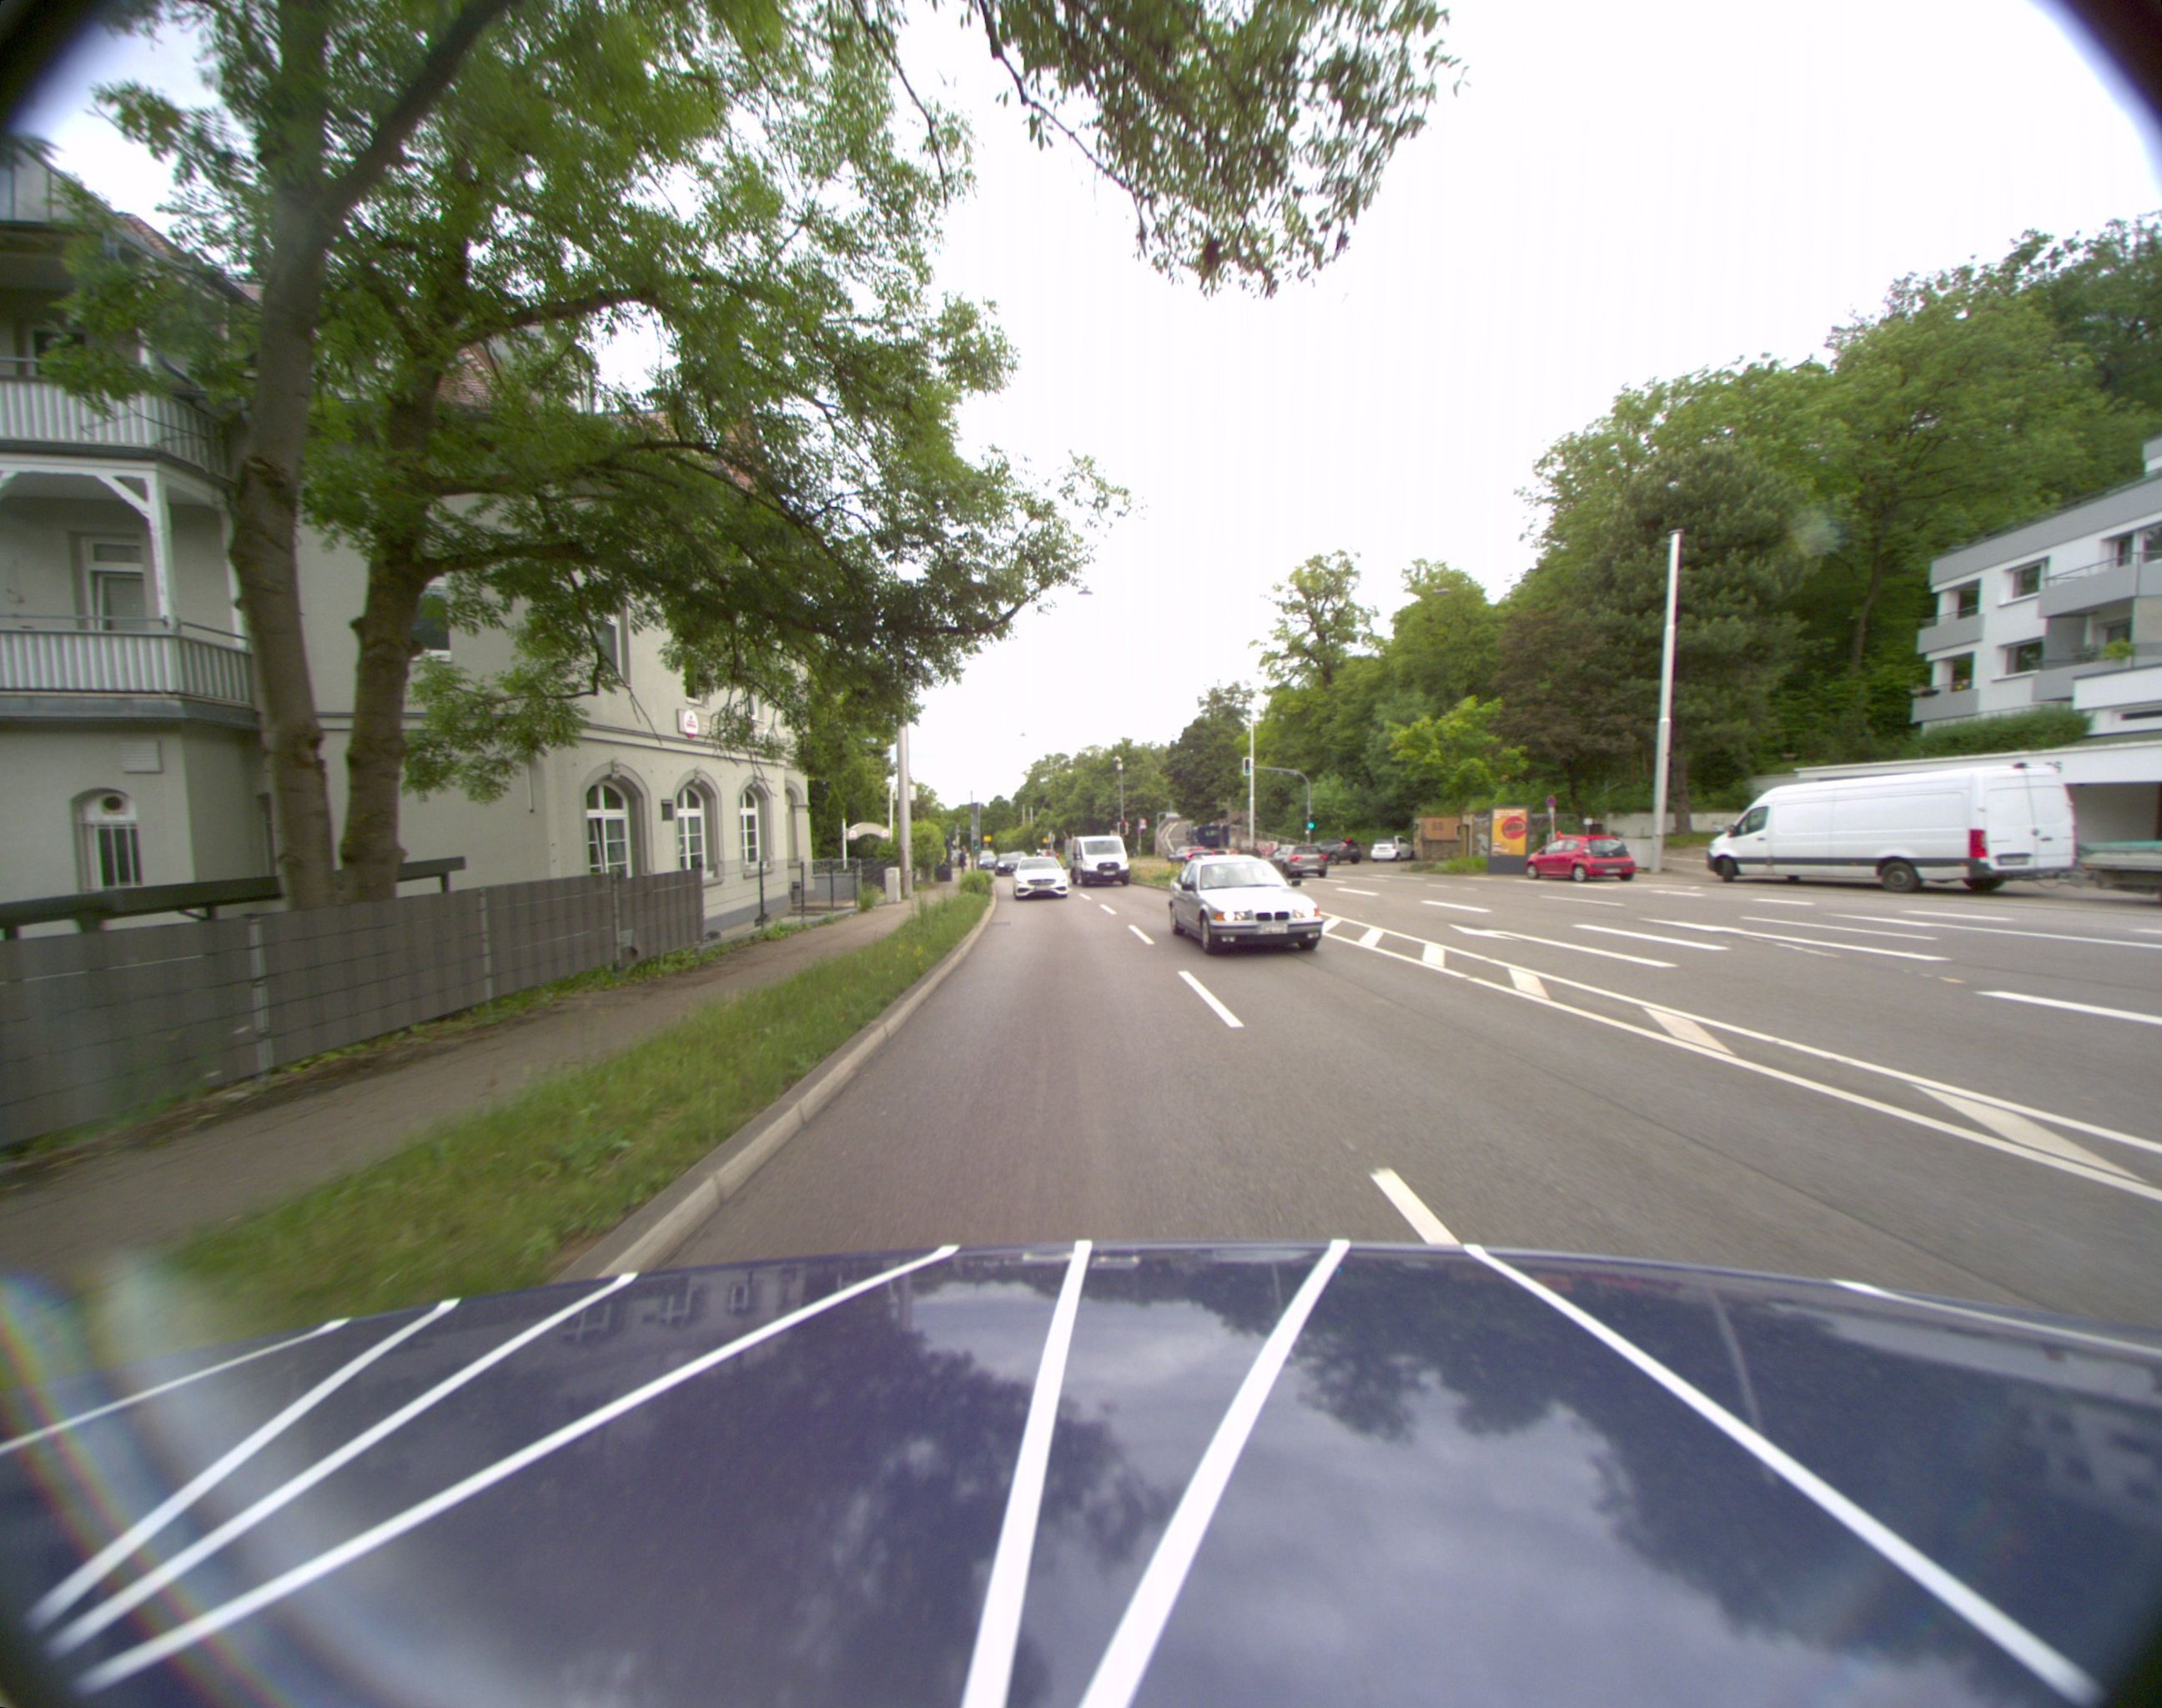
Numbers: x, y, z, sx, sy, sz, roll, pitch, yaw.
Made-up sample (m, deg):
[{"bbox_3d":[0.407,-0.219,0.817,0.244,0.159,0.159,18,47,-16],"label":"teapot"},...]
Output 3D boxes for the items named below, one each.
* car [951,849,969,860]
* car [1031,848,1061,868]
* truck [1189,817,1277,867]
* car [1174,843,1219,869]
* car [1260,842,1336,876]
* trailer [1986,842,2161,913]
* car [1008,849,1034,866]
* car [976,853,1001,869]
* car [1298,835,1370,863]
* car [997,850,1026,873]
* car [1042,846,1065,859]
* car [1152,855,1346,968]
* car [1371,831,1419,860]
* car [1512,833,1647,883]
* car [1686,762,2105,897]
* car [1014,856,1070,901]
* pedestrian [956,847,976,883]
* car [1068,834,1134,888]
[{"bbox_3d":[-15.750,0.075,98.772,1.809,1.385,4.278,-2,1,-15],"label":"car"},{"bbox_3d":[-2.958,0.302,63.146,1.679,1.532,4.547,-1,1,-13],"label":"car"},{"bbox_3d":[9.922,-0.780,50.813,2.970,2.954,8.971,-2,1,-8],"label":"truck"},{"bbox_3d":[7.110,0.102,47.072,1.700,1.488,4.483,-2,1,-5],"label":"car"},{"bbox_3d":[9.507,0.193,33.637,1.848,1.385,4.282,-2,1,-4],"label":"car"},{"bbox_3d":[18.712,0.372,12.456,2.252,1.105,4.621,-1,1,0],"label":"trailer"},{"bbox_3d":[-5.803,0.308,72.849,1.680,1.532,4.608,-1,1,-15],"label":"car"},{"bbox_3d":[-8.685,0.600,71.008,1.809,1.385,4.278,-2,1,-13],"label":"car"},{"bbox_3d":[15.021,-0.277,45.252,1.601,1.531,4.124,-2,1,-26],"label":"car"},{"bbox_3d":[-4.952,0.508,53.542,1.679,1.532,4.610,-1,0,-9],"label":"car"},{"bbox_3d":[-3.239,-0.182,89.256,1.698,1.492,4.549,-3,1,-14],"label":"car"},{"bbox_3d":[2.488,0.772,12.523,1.758,1.385,4.612,-2,1,-5],"label":"car"},{"bbox_3d":[19.042,-0.527,46.039,2.715,1.512,1.560,-6,3,-39],"label":"car"},{"bbox_3d":[16.100,0.106,24.801,1.626,1.457,3.925,-2,1,-4],"label":"car"},{"bbox_3d":[18.781,-0.507,18.473,2.237,2.553,7.421,-1,1,0],"label":"car"},{"bbox_3d":[-1.320,0.806,27.079,1.807,1.385,4.283,-1,0,-1],"label":"car"},{"bbox_3d":[-5.952,0.564,39.460,0.618,1.823,0.696,-1,2,43],"label":"pedestrian"},{"bbox_3d":[0.751,0.237,33.822,2.254,2.114,6.666,-2,1,-4],"label":"car"}]
